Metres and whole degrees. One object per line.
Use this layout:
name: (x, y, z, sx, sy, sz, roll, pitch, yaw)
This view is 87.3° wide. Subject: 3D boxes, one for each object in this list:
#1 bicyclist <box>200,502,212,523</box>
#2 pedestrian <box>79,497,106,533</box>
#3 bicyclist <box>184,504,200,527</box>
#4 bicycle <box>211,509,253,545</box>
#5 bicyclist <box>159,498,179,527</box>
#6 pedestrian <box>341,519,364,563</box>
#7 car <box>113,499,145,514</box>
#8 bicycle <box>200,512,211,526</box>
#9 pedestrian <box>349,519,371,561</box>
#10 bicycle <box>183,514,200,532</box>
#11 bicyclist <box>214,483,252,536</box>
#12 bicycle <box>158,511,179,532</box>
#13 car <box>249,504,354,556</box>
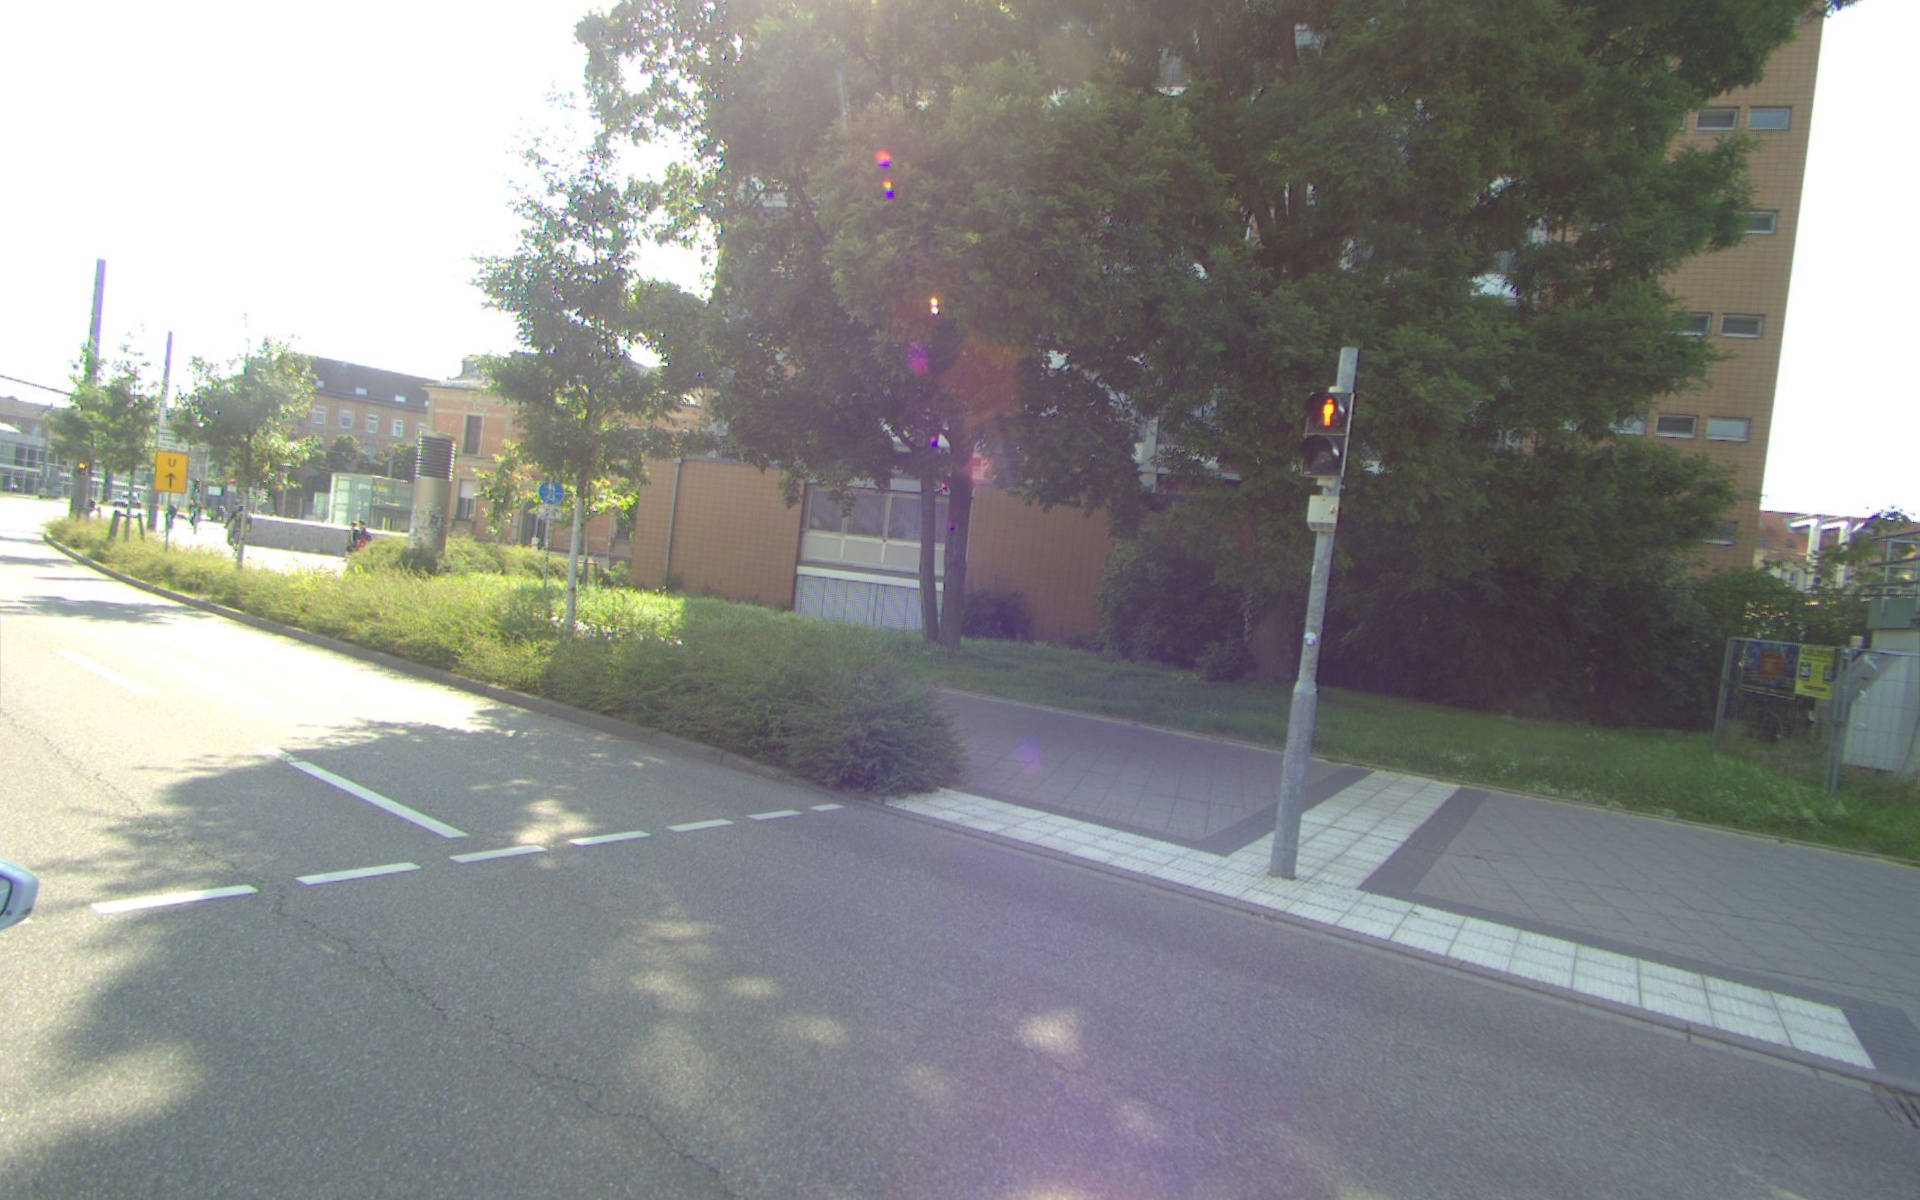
bicyclist: (-72.151, -8.362, 96.297, 0.742, 1.852, 0.798, 6, 1, -36)
pedestrian: (-35.515, -3.487, 41.183, 0.624, 1.379, 0.635, 7, 1, 38)
bicyclist: (-49.857, -5.486, 65.315, 0.701, 1.411, 0.821, 6, 1, -35)
bicycle: (-23.594, -2.373, 32.592, 0.769, 0.988, 2.123, 6, 0, -43)
bicyclist: (-45.190, -4.997, 57.472, 0.708, 1.549, 0.799, 6, 1, -35)
pedestrian: (-24.439, -2.374, 40.462, 0.609, 1.659, 0.530, 6, 1, -28)
car: (-105.273, -11.848, 127.419, 1.974, 1.460, 3.976, 7, 0, -24)
bicycle: (-72.206, -7.752, 96.302, 0.735, 1.233, 2.223, 6, 1, -36)
pedestrian: (-24.647, -2.457, 41.299, 0.611, 1.649, 0.528, 6, 1, -36)
bicycle: (-49.871, -5.009, 65.266, 0.701, 1.074, 1.963, 6, 1, -34)
bicyclist: (-23.541, -2.930, 32.585, 0.769, 1.598, 0.978, 6, 1, -43)
bicycle: (-45.254, -4.494, 57.517, 0.701, 1.074, 1.963, 6, 1, -34)
car: (-33.516, -3.527, 51.324, 1.722, 2.039, 3.998, 10, 1, 23)
